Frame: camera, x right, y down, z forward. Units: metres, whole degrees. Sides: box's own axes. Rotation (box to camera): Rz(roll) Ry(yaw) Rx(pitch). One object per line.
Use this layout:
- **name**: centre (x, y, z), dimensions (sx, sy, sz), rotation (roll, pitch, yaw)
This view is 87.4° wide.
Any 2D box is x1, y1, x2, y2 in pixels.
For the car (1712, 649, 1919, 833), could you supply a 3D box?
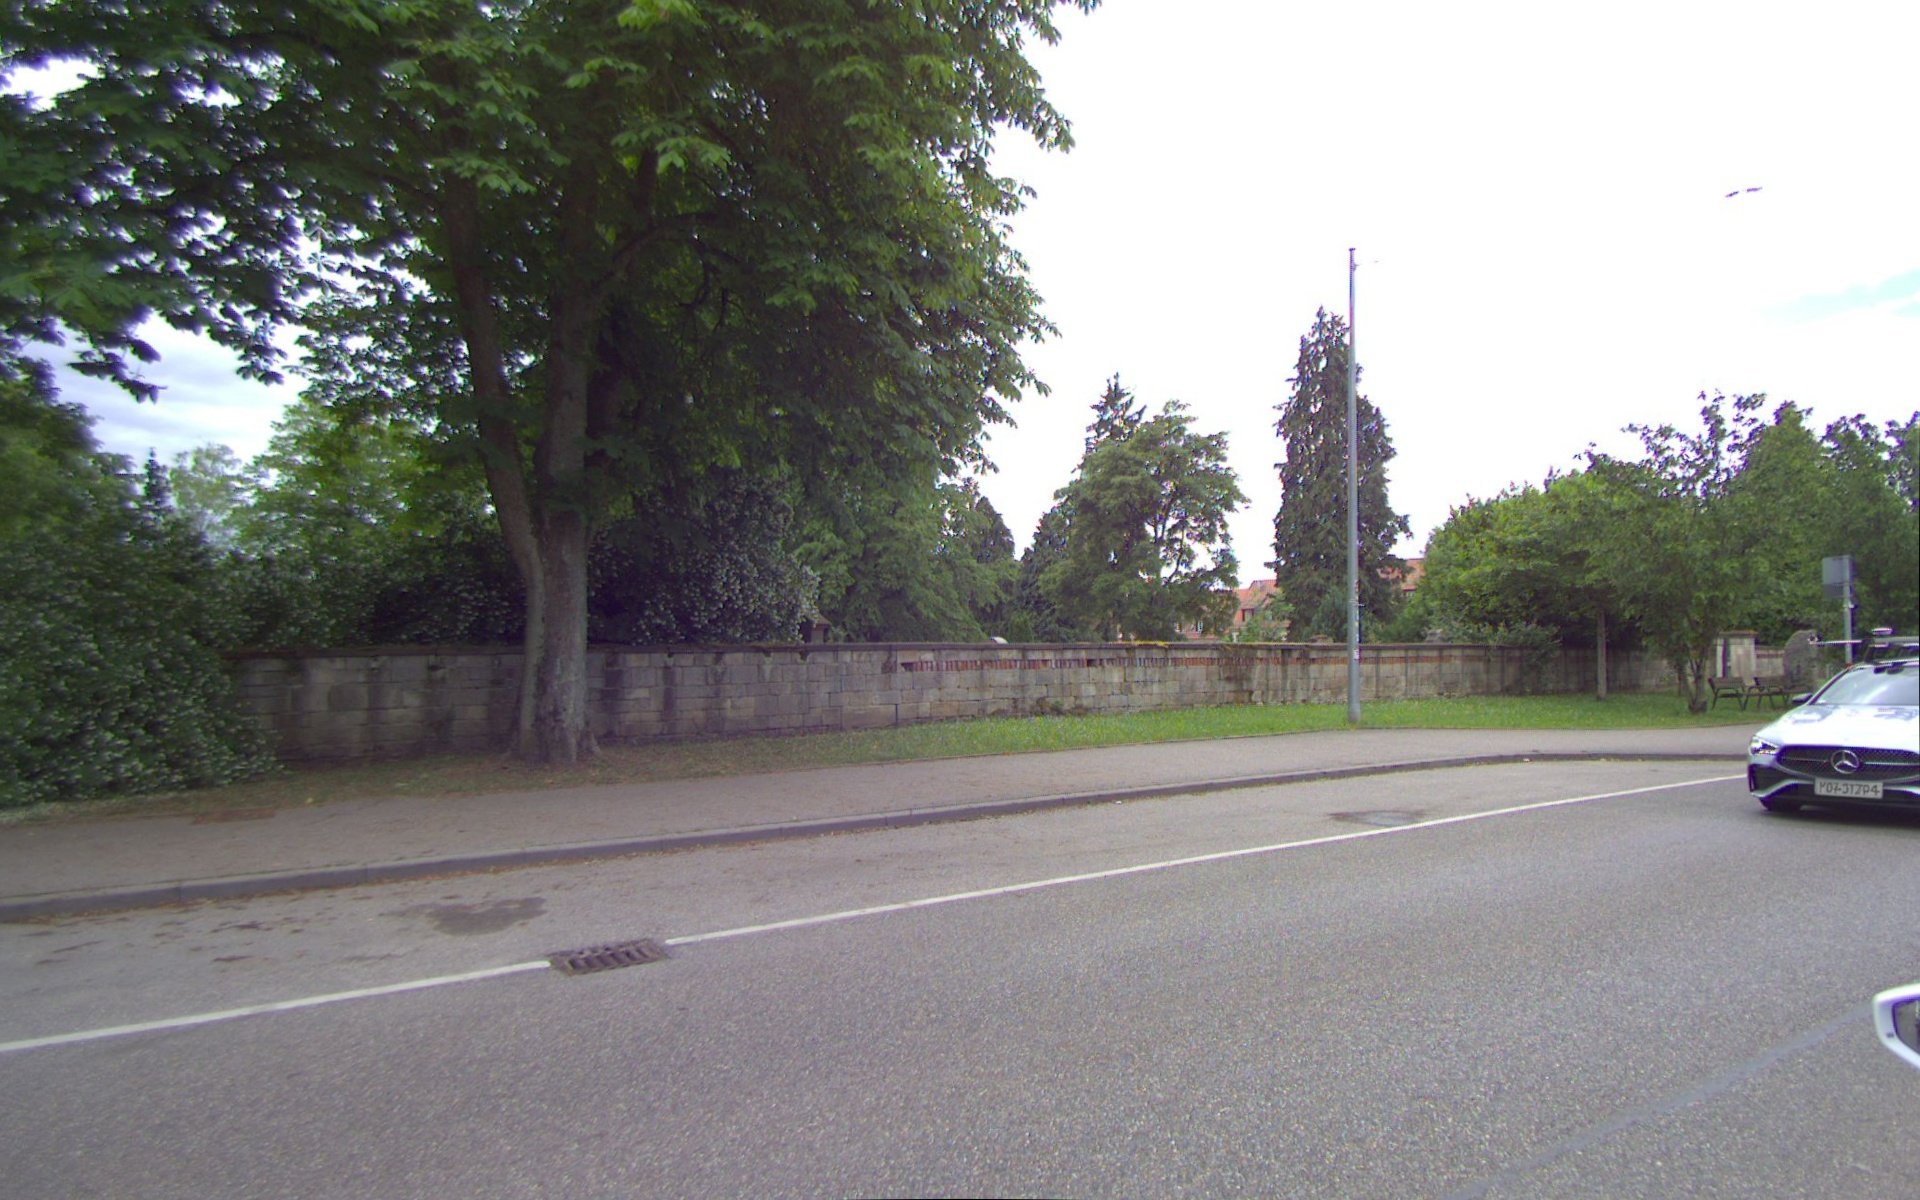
- **car**: centre (9.102, 1.201, 9.364), dimensions (4.363, 1.421, 1.749), rotation (2, -5, -31)
